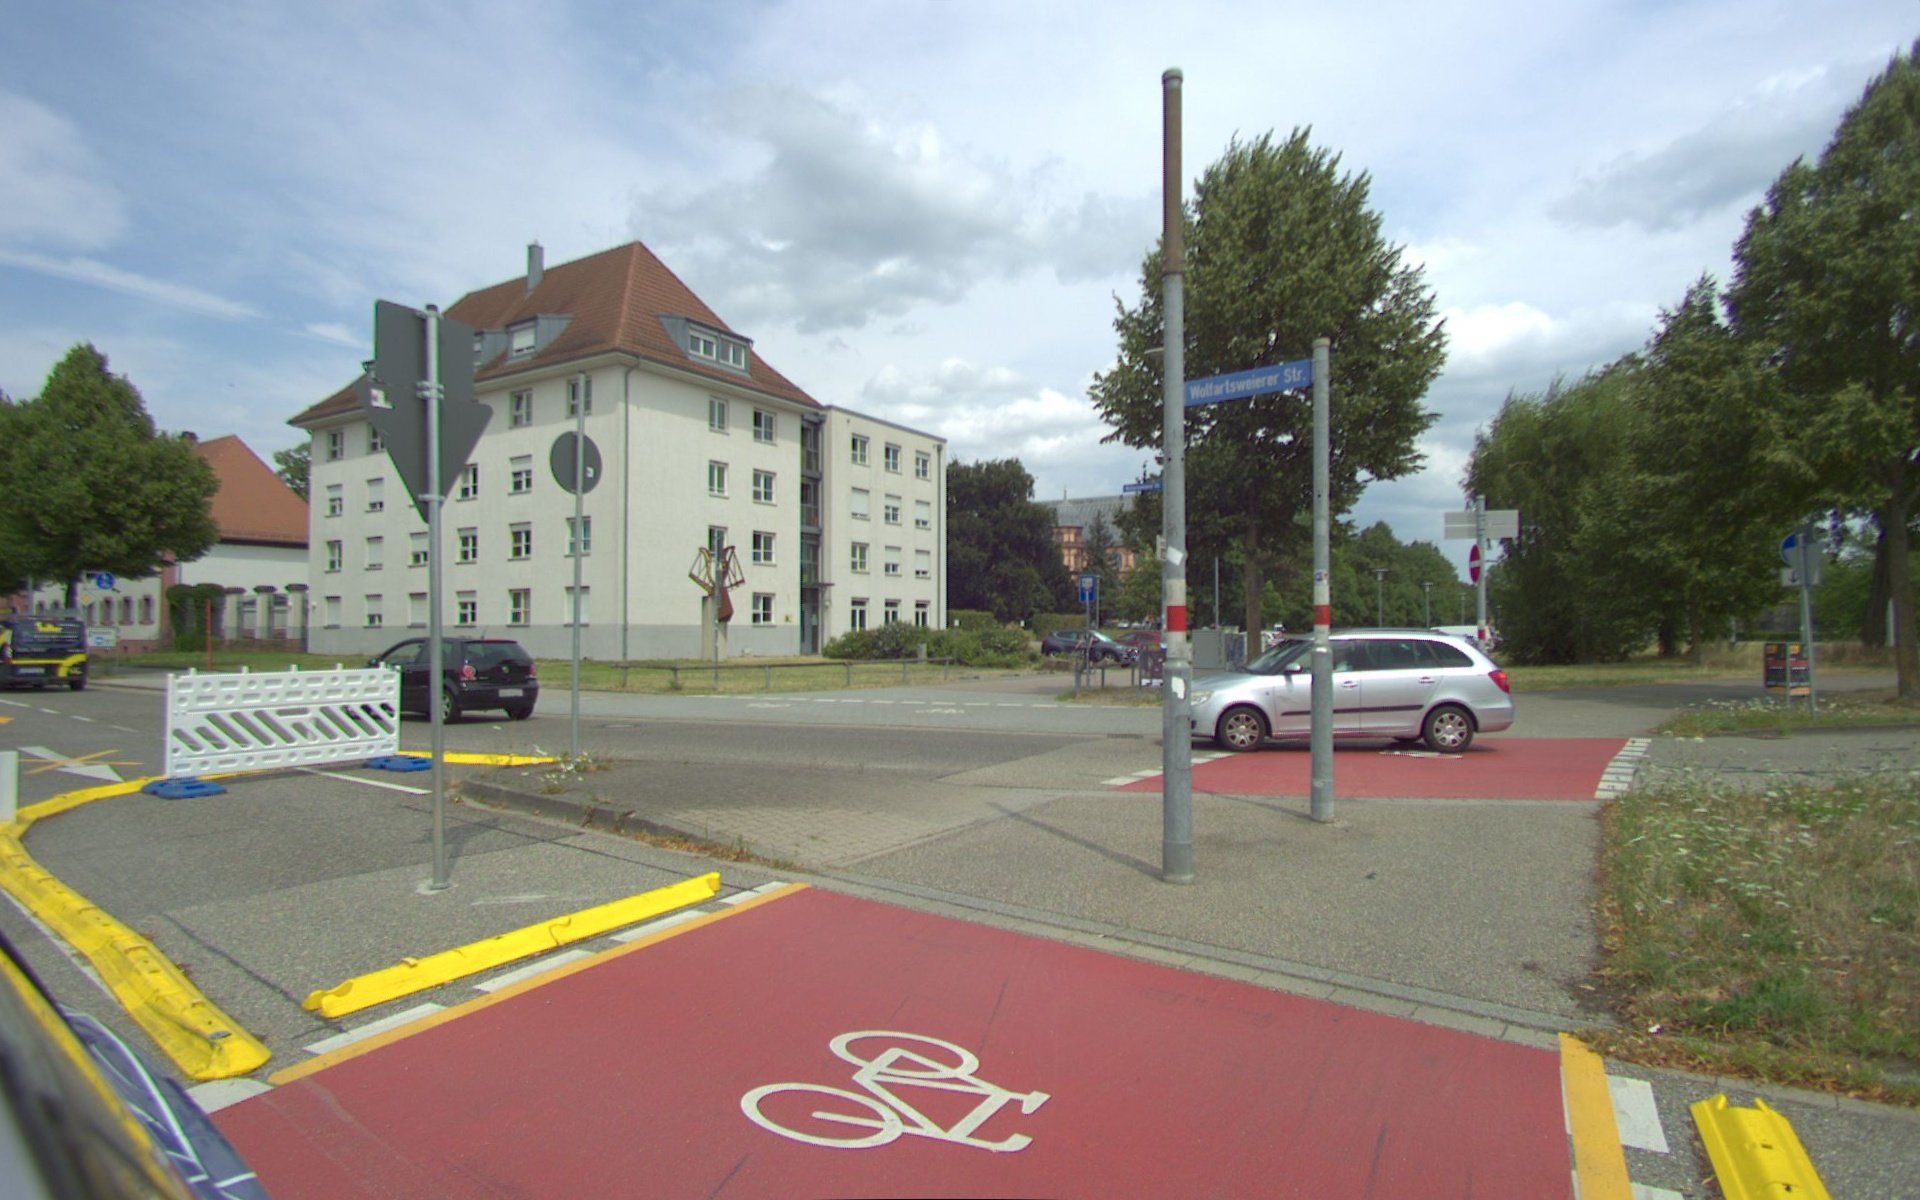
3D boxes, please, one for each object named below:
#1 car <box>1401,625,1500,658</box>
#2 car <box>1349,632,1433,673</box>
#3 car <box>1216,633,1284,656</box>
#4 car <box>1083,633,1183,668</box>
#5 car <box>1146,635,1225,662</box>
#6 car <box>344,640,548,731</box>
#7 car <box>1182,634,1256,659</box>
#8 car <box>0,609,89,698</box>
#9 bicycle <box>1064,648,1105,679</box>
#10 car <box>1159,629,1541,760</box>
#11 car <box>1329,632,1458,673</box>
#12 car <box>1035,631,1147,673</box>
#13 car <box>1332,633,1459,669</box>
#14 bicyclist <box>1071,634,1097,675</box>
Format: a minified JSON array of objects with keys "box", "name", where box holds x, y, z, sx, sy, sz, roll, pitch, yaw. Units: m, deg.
[{"box":[31.675,2.675,65.398,5.548,2.072,2.178,-1,-2,30],"name":"car"},{"box":[16.762,2.048,39.347,2.900,1.434,1.471,-4,-4,26],"name":"car"},{"box":[19.027,2.899,66.386,3.993,1.479,1.798,-1,-2,31],"name":"car"},{"box":[8.386,2.447,49.264,4.394,1.610,1.977,-2,-2,33],"name":"car"},{"box":[12.440,2.664,55.969,3.993,1.479,1.598,-1,-2,31],"name":"car"},{"box":[-9.038,1.454,17.723,3.713,1.426,1.613,-3,-4,35],"name":"car"},{"box":[15.602,2.781,61.008,3.993,1.479,1.798,-1,-2,31],"name":"car"},{"box":[-26.282,1.469,28.151,5.149,2.290,1.976,-2,-2,36],"name":"car"},{"box":[4.522,2.283,36.592,0.601,1.054,1.805,-2,-3,39],"name":"bicycle"},{"box":[4.767,1.160,12.845,4.163,1.530,1.627,-1,-2,3],"name":"car"},{"box":[17.818,2.154,41.646,4.687,1.482,1.815,-4,-3,30],"name":"car"},{"box":[5.732,2.256,44.510,4.484,1.778,1.979,-1,-2,31],"name":"car"},{"box":[18.974,2.197,44.151,4.873,1.482,1.813,-1,-2,33],"name":"car"},{"box":[4.468,1.958,36.553,0.601,1.434,0.793,-2,-3,39],"name":"bicyclist"}]
